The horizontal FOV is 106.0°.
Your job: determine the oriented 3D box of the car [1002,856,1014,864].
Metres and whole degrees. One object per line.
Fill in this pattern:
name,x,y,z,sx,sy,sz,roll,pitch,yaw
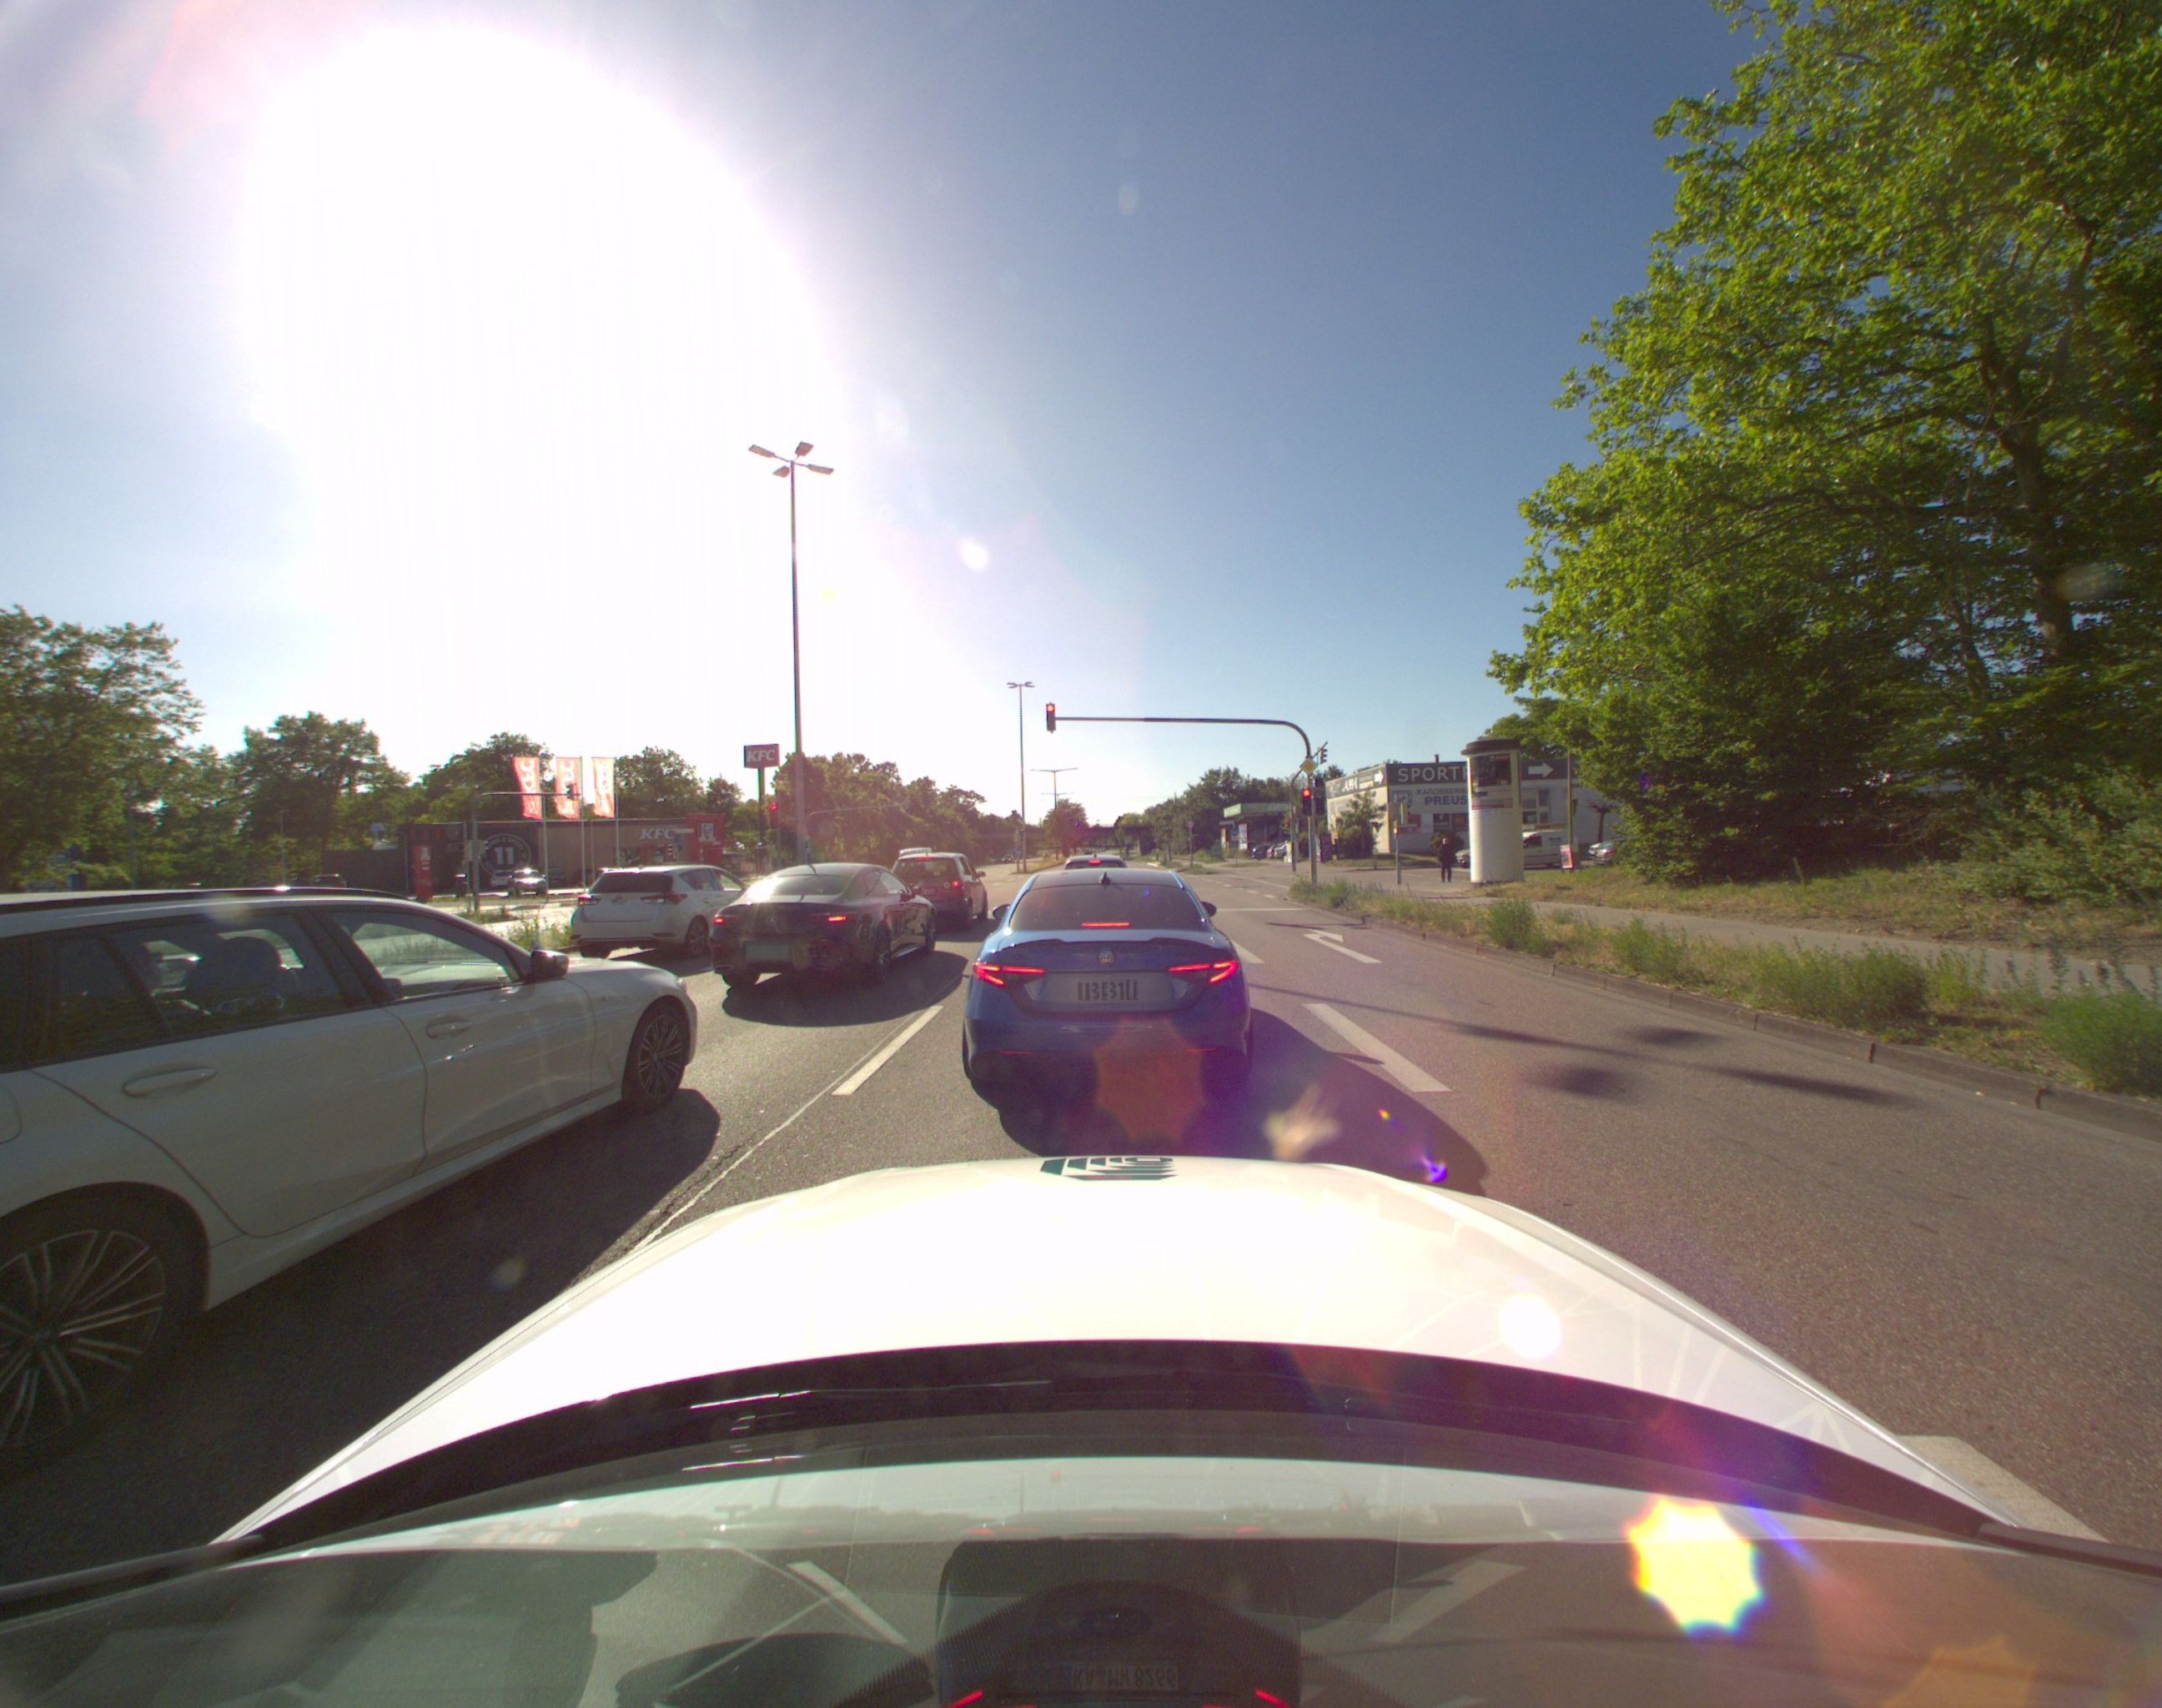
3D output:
car,-14.141,1.157,158.179,1.752,1.490,4.480,-3,0,2

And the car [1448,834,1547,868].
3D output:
car,21.771,-0.190,42.708,4.273,1.549,1.765,-3,1,0

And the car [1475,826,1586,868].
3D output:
car,21.660,-0.349,39.373,4.367,1.801,1.765,-3,1,0

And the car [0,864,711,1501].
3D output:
car,-3.423,0.799,3.300,1.779,1.490,4.403,0,-1,1

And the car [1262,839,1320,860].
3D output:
car,17.991,-0.371,69.846,4.470,1.454,1.860,-4,0,3

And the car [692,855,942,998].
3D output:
car,-3.166,0.780,10.805,1.790,1.490,4.476,0,-1,1

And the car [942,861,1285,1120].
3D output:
car,0.211,0.773,6.709,1.889,1.418,4.403,0,-1,1

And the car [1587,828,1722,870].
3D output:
car,24.502,-0.205,34.913,4.392,1.490,1.766,-4,0,3

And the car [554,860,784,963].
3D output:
car,-6.762,0.854,13.948,1.753,1.490,4.197,0,-1,1

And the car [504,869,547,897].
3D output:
car,-37.331,1.940,54.856,2.005,1.765,4.315,0,-1,-29

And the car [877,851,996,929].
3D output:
car,-3.020,0.716,17.908,1.753,1.490,4.403,0,-1,1

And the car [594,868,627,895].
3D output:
car,-33.662,1.936,58.336,1.920,1.752,4.315,0,-1,-29

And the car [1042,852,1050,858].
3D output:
car,-9.371,0.202,219.226,1.752,1.490,4.480,-3,0,2

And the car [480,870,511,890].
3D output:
car,-45.633,2.027,63.402,1.670,1.471,3.872,0,-1,-40

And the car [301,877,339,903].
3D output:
car,-52.367,2.464,56.091,1.670,1.673,3.897,0,-1,-40

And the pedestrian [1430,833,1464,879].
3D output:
pedestrian,14.222,0.085,31.662,0.922,1.735,0.939,0,-1,1

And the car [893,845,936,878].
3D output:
car,-13.671,0.619,67.281,2.015,2.447,5.823,-5,0,1

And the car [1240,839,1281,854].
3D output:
car,21.394,-0.866,97.009,4.532,1.490,1.766,-4,0,3

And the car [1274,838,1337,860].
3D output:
car,17.708,-0.414,64.317,4.470,1.454,1.860,-4,0,3

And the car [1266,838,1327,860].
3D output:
car,17.714,-0.400,67.098,4.470,1.454,1.860,-4,0,3

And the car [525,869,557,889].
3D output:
car,-43.141,1.959,65.055,1.670,1.471,3.872,0,-1,-40

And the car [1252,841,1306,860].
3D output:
car,17.950,-0.342,73.900,4.470,1.454,1.860,-4,0,3

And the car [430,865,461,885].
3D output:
car,-47.633,1.566,60.985,1.670,1.471,3.872,0,-1,-40

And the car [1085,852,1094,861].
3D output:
car,1.833,0.600,180.437,1.884,1.816,4.001,0,-1,2

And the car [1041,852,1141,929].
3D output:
car,0.222,0.696,17.352,1.844,1.418,4.403,0,-1,1
